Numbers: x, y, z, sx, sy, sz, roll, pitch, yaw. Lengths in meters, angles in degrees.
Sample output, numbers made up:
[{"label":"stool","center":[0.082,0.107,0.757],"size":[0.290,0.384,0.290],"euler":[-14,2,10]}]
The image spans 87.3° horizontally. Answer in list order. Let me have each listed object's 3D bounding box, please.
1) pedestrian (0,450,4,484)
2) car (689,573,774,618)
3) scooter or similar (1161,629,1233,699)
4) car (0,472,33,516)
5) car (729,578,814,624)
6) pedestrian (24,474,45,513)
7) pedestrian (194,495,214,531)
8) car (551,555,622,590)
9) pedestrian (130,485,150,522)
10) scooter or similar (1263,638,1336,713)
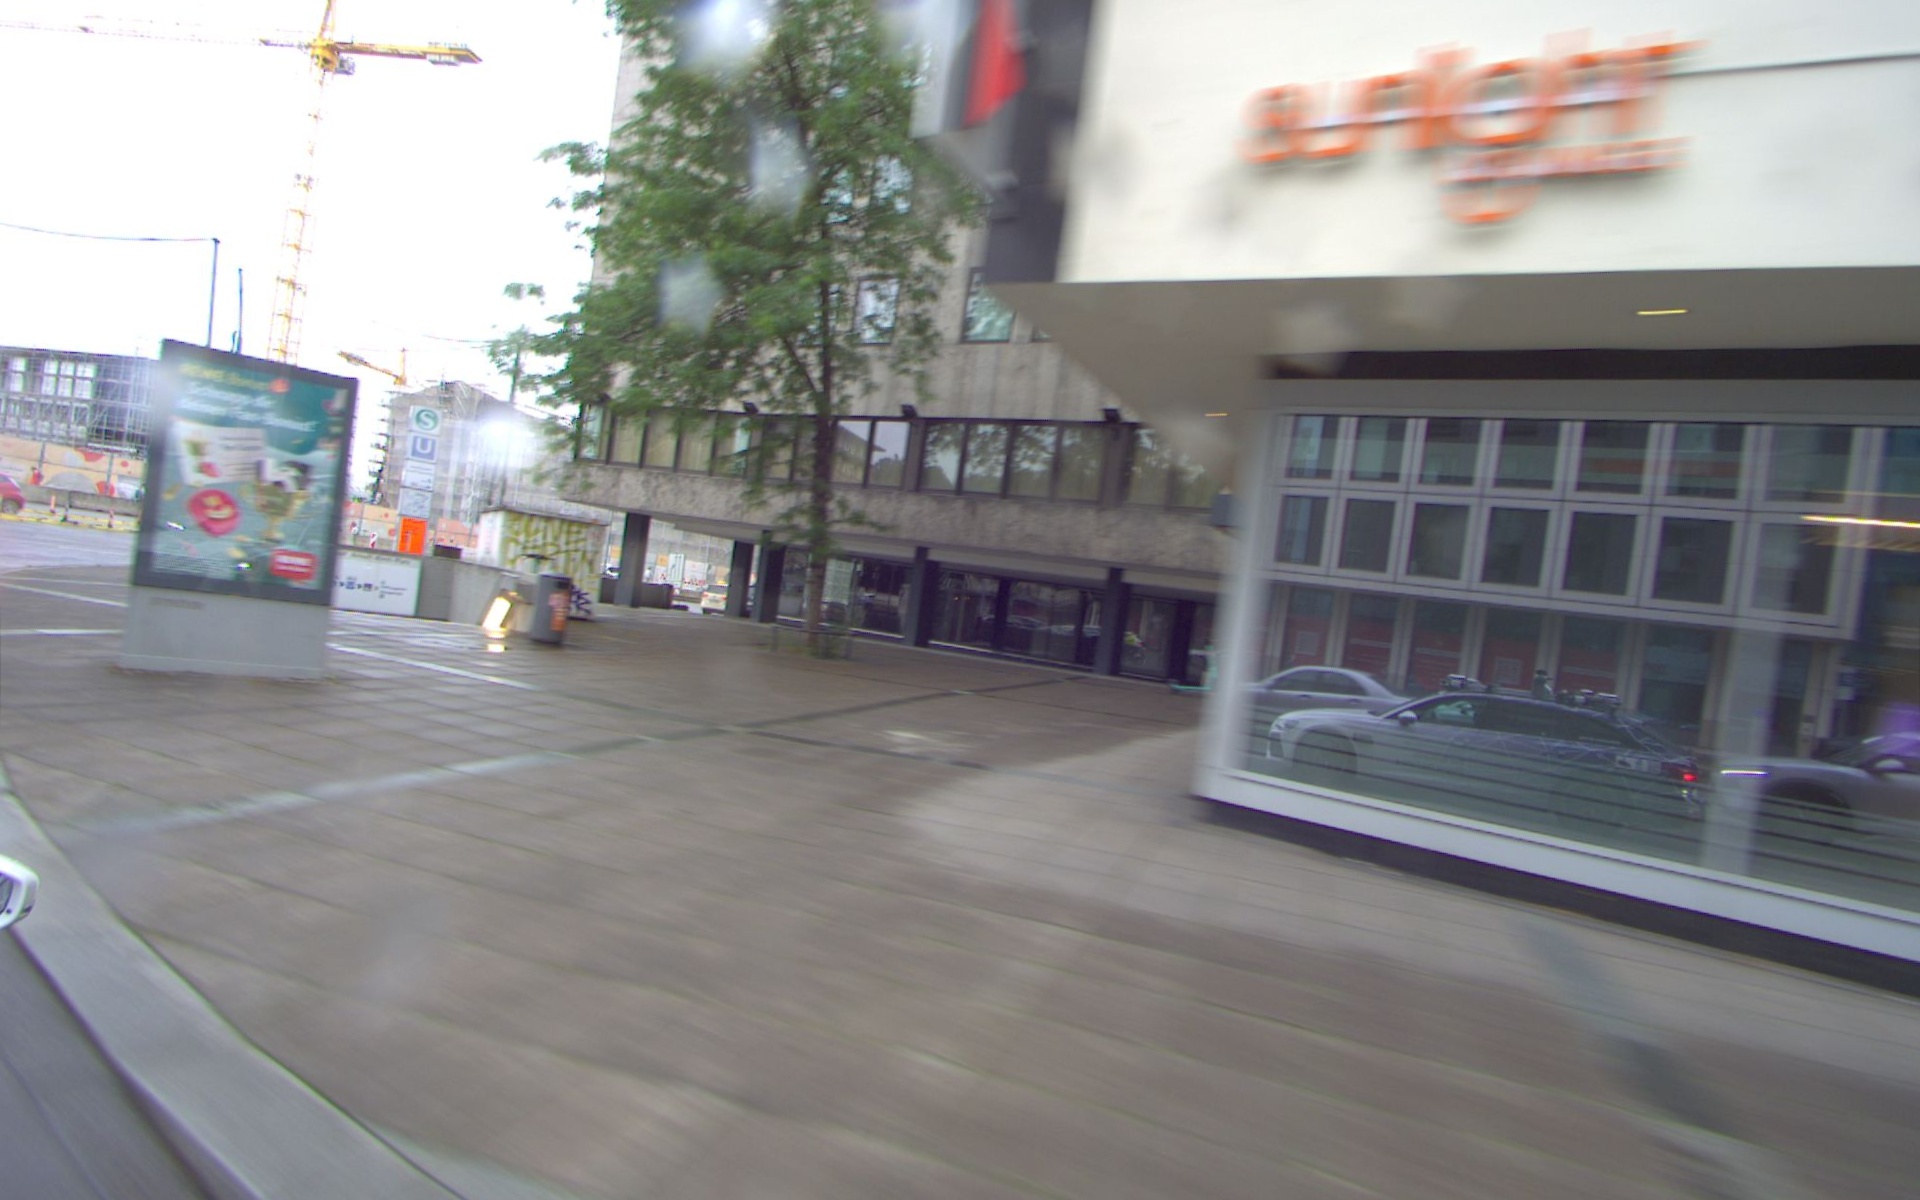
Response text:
[{"label":"pedestrian","center":[-47.241,-6.407,49.143],"size":[0.356,1.920,0.575],"euler":[7,-1,35]},{"label":"car","center":[-11.104,-0.196,49.243],"size":[1.963,1.659,4.002],"euler":[7,-2,23]},{"label":"scooter or similar","center":[4.866,1.299,20.673],"size":[1.209,1.269,0.564],"euler":[7,2,27]},{"label":"car","center":[-33.196,-3.774,33.090],"size":[1.635,1.319,3.548],"euler":[7,-2,21]},{"label":"car","center":[-8.944,0.102,47.973],"size":[1.963,1.659,4.002],"euler":[7,-2,23]},{"label":"pedestrian","center":[-47.963,-5.506,52.140],"size":[0.356,1.920,0.575],"euler":[7,-1,35]},{"label":"pedestrian","center":[-42.758,-4.933,56.893],"size":[0.356,1.920,0.576],"euler":[7,-1,28]},{"label":"car","center":[-23.621,-1.709,63.758],"size":[1.963,1.570,4.056],"euler":[7,-2,20]},{"label":"pedestrian","center":[-44.532,-5.256,54.639],"size":[0.356,1.920,0.576],"euler":[7,-1,28]},{"label":"scooter or similar","center":[6.852,1.521,20.310],"size":[1.209,1.353,0.519],"euler":[7,-1,27]}]
